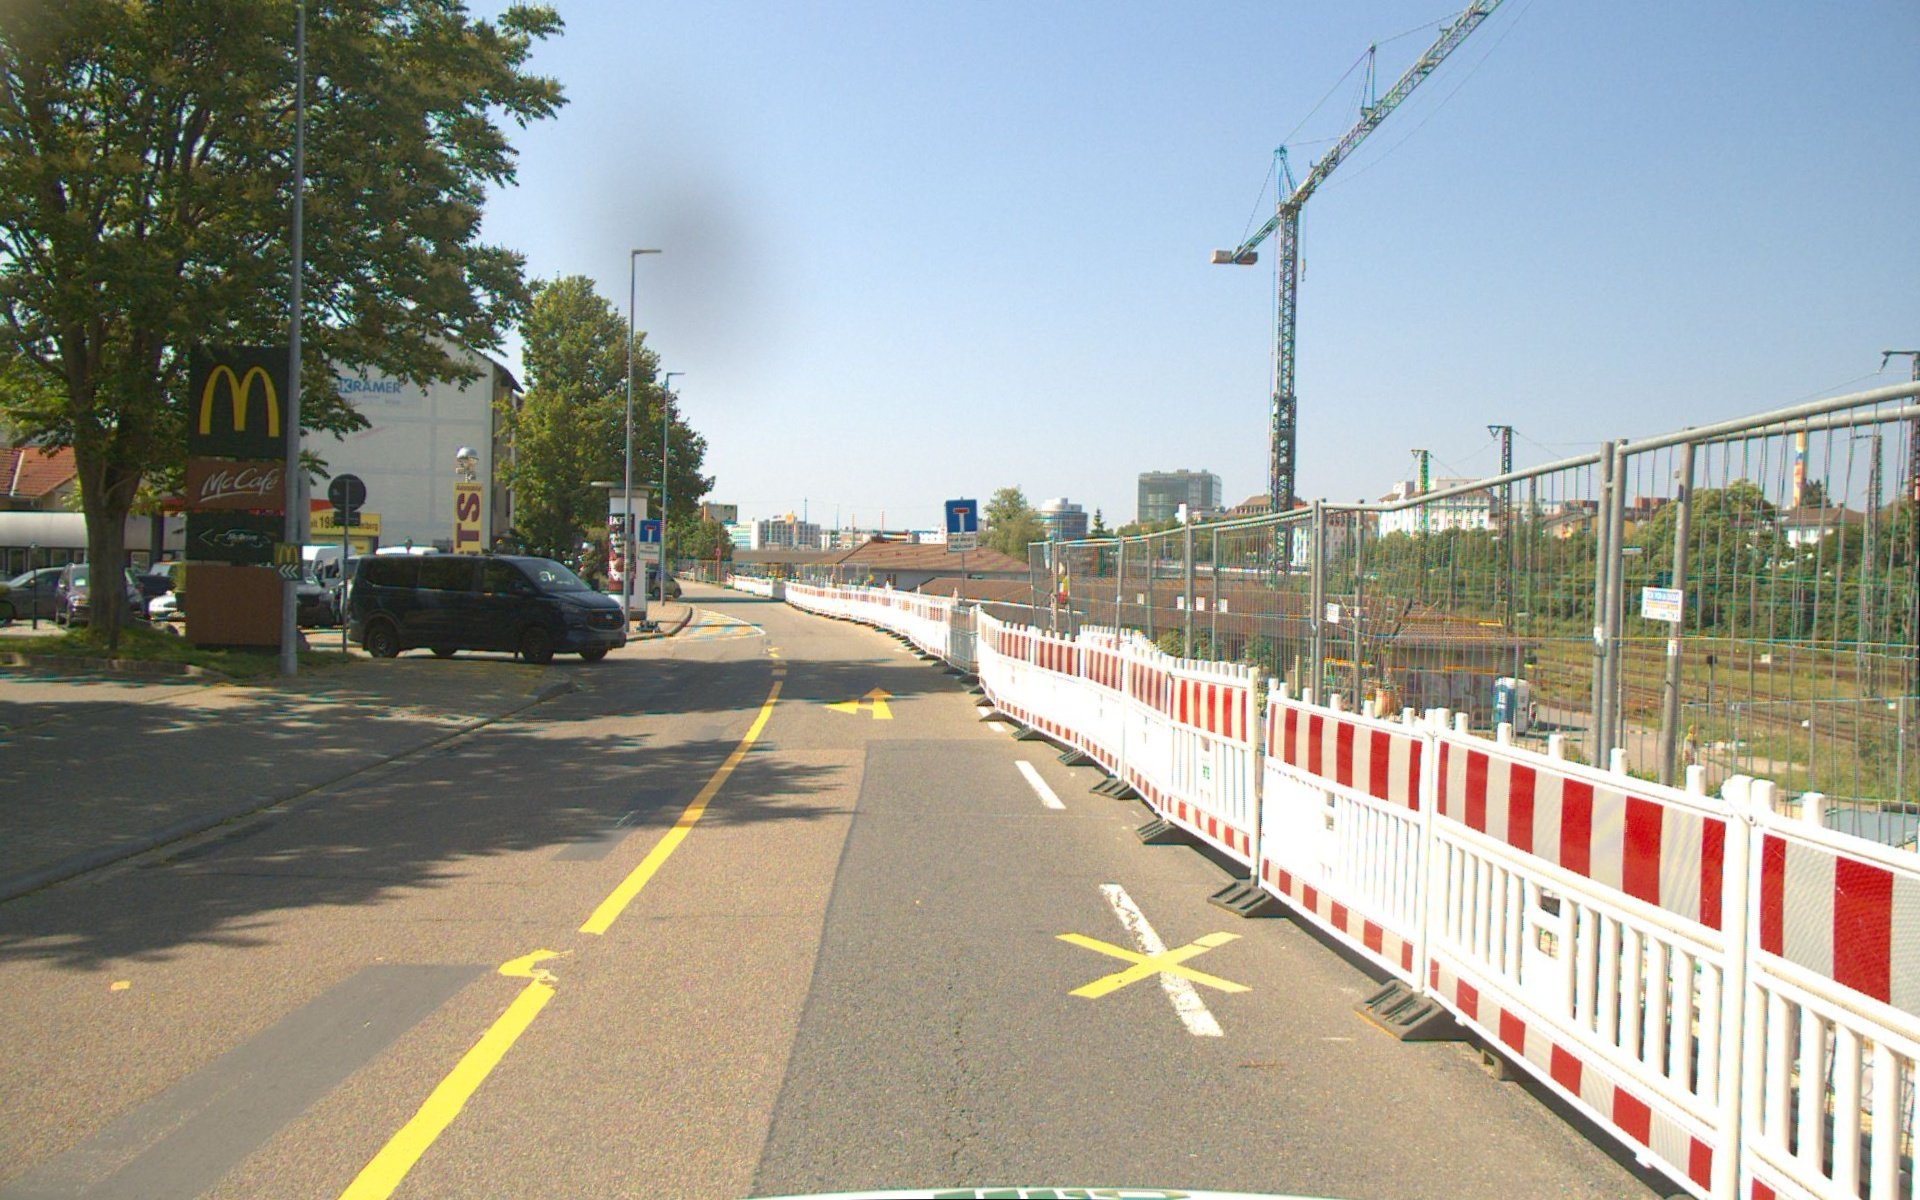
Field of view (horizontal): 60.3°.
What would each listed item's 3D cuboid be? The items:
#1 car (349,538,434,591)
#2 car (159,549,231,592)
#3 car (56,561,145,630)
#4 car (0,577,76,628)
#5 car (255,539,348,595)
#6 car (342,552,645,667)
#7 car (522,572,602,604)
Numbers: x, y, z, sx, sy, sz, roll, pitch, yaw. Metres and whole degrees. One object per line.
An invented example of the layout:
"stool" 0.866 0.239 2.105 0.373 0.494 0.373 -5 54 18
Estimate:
"car" -21.913 -1.367 63.694 1.812 1.963 3.942 1 0 -40
"car" -27.268 -1.067 58.925 1.556 1.445 3.638 1 1 -37
"car" -23.243 -0.147 44.646 1.973 1.758 3.960 0 1 -30
"car" -28.221 0.058 48.871 3.636 1.445 1.557 1 0 -30
"car" -23.900 -1.192 59.984 1.981 1.937 3.942 1 0 -40
"car" -8.727 0.128 30.956 5.253 1.969 2.001 1 1 20
"car" -19.115 -0.558 79.360 3.605 1.445 1.570 2 0 28
